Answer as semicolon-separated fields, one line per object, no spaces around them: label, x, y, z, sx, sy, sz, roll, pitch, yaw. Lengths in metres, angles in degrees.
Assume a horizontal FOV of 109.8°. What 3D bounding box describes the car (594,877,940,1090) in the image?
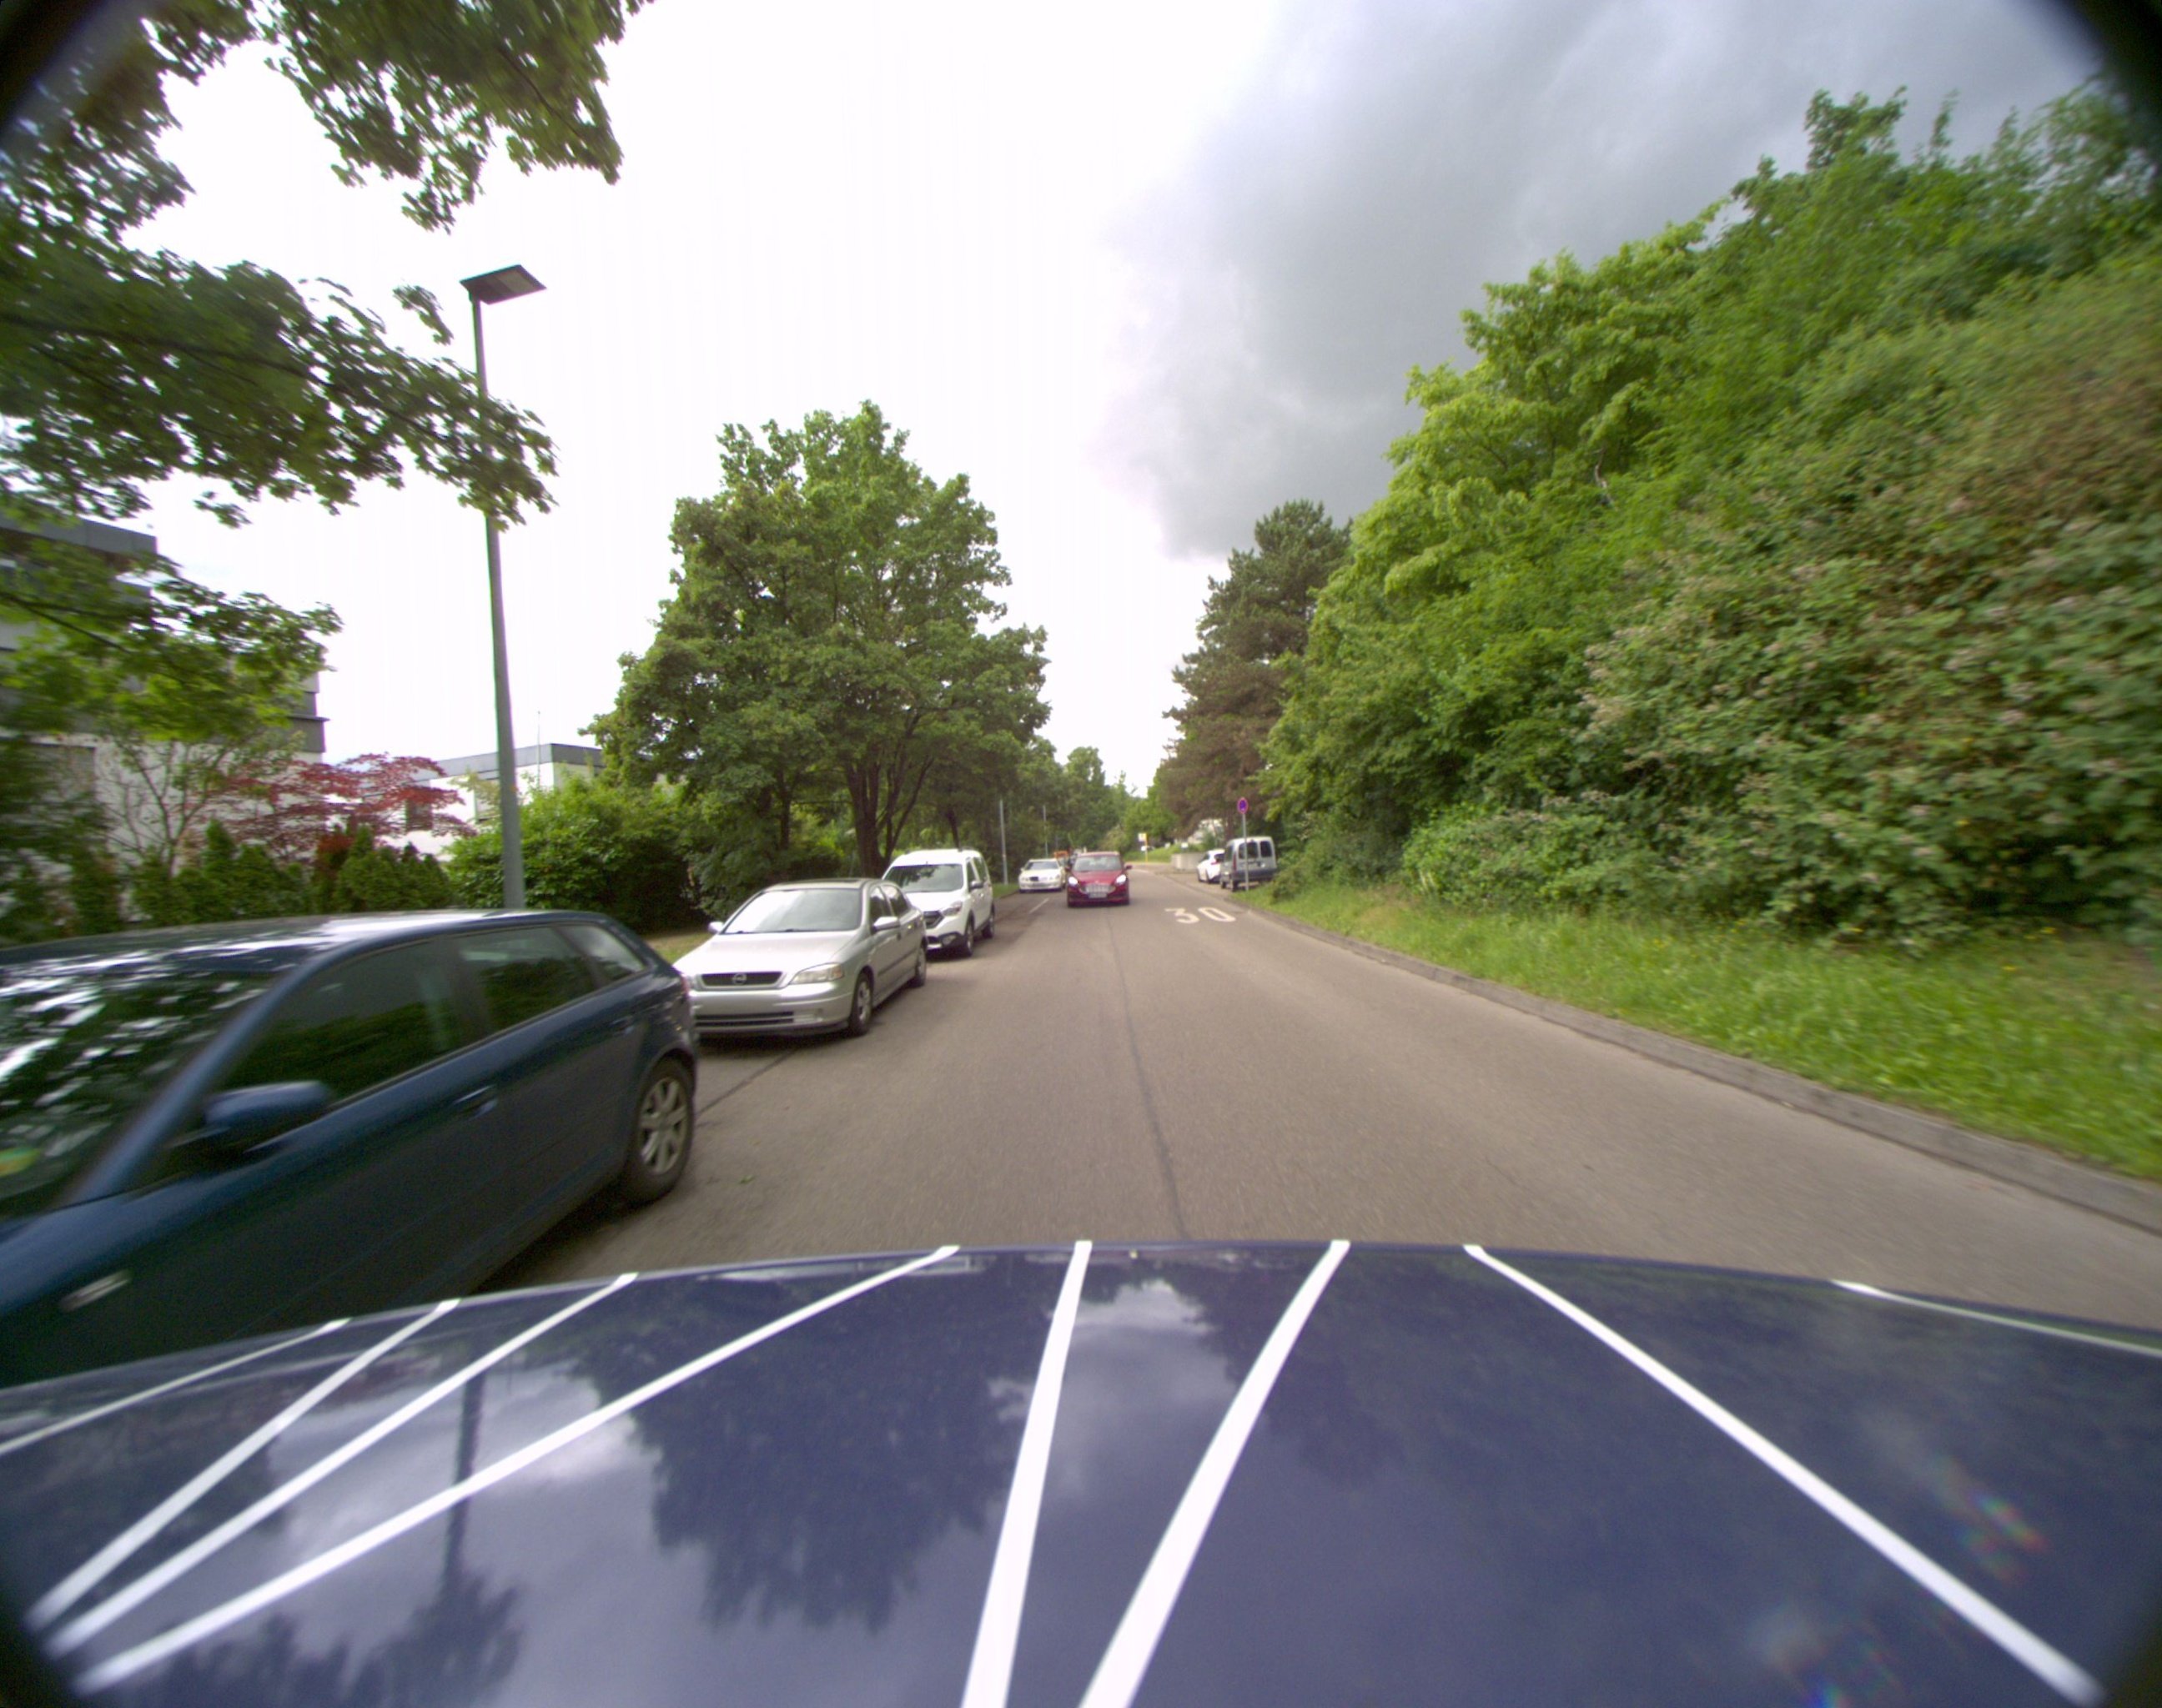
car;-2.866;1.091;8.117;1.817;1.429;4.242;-4;0;0

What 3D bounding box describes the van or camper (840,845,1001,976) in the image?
van or camper;-2.655;0.831;13.656;1.806;1.827;4.319;-3;2;1

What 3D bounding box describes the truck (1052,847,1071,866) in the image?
truck;-2.707;0.377;108.537;2.328;2.455;6.020;-5;0;1

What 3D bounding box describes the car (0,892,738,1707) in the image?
car;-2.879;1.010;2.229;1.852;1.466;4.477;-3;0;-3

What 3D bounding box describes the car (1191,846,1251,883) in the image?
car;6.146;0.421;33.799;1.810;1.394;4.372;-4;0;1

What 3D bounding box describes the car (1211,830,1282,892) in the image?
car;5.837;0.233;27.218;1.725;1.910;4.106;-5;0;3

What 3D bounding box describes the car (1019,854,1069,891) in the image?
car;-1.621;0.805;35.122;1.891;1.498;5.176;-3;0;1

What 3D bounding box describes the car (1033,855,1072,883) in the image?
car;-1.530;0.822;42.770;1.797;1.403;4.059;-2;0;3

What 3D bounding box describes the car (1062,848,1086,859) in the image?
car;-1.334;-0.099;139.066;3.803;1.629;2.002;-4;2;27

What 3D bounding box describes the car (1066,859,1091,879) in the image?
car;-0.291;1.497;76.896;2.000;1.663;3.997;-5;2;-7

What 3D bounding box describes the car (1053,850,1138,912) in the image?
car;0.335;0.730;23.281;1.946;1.550;4.353;-5;1;-6
